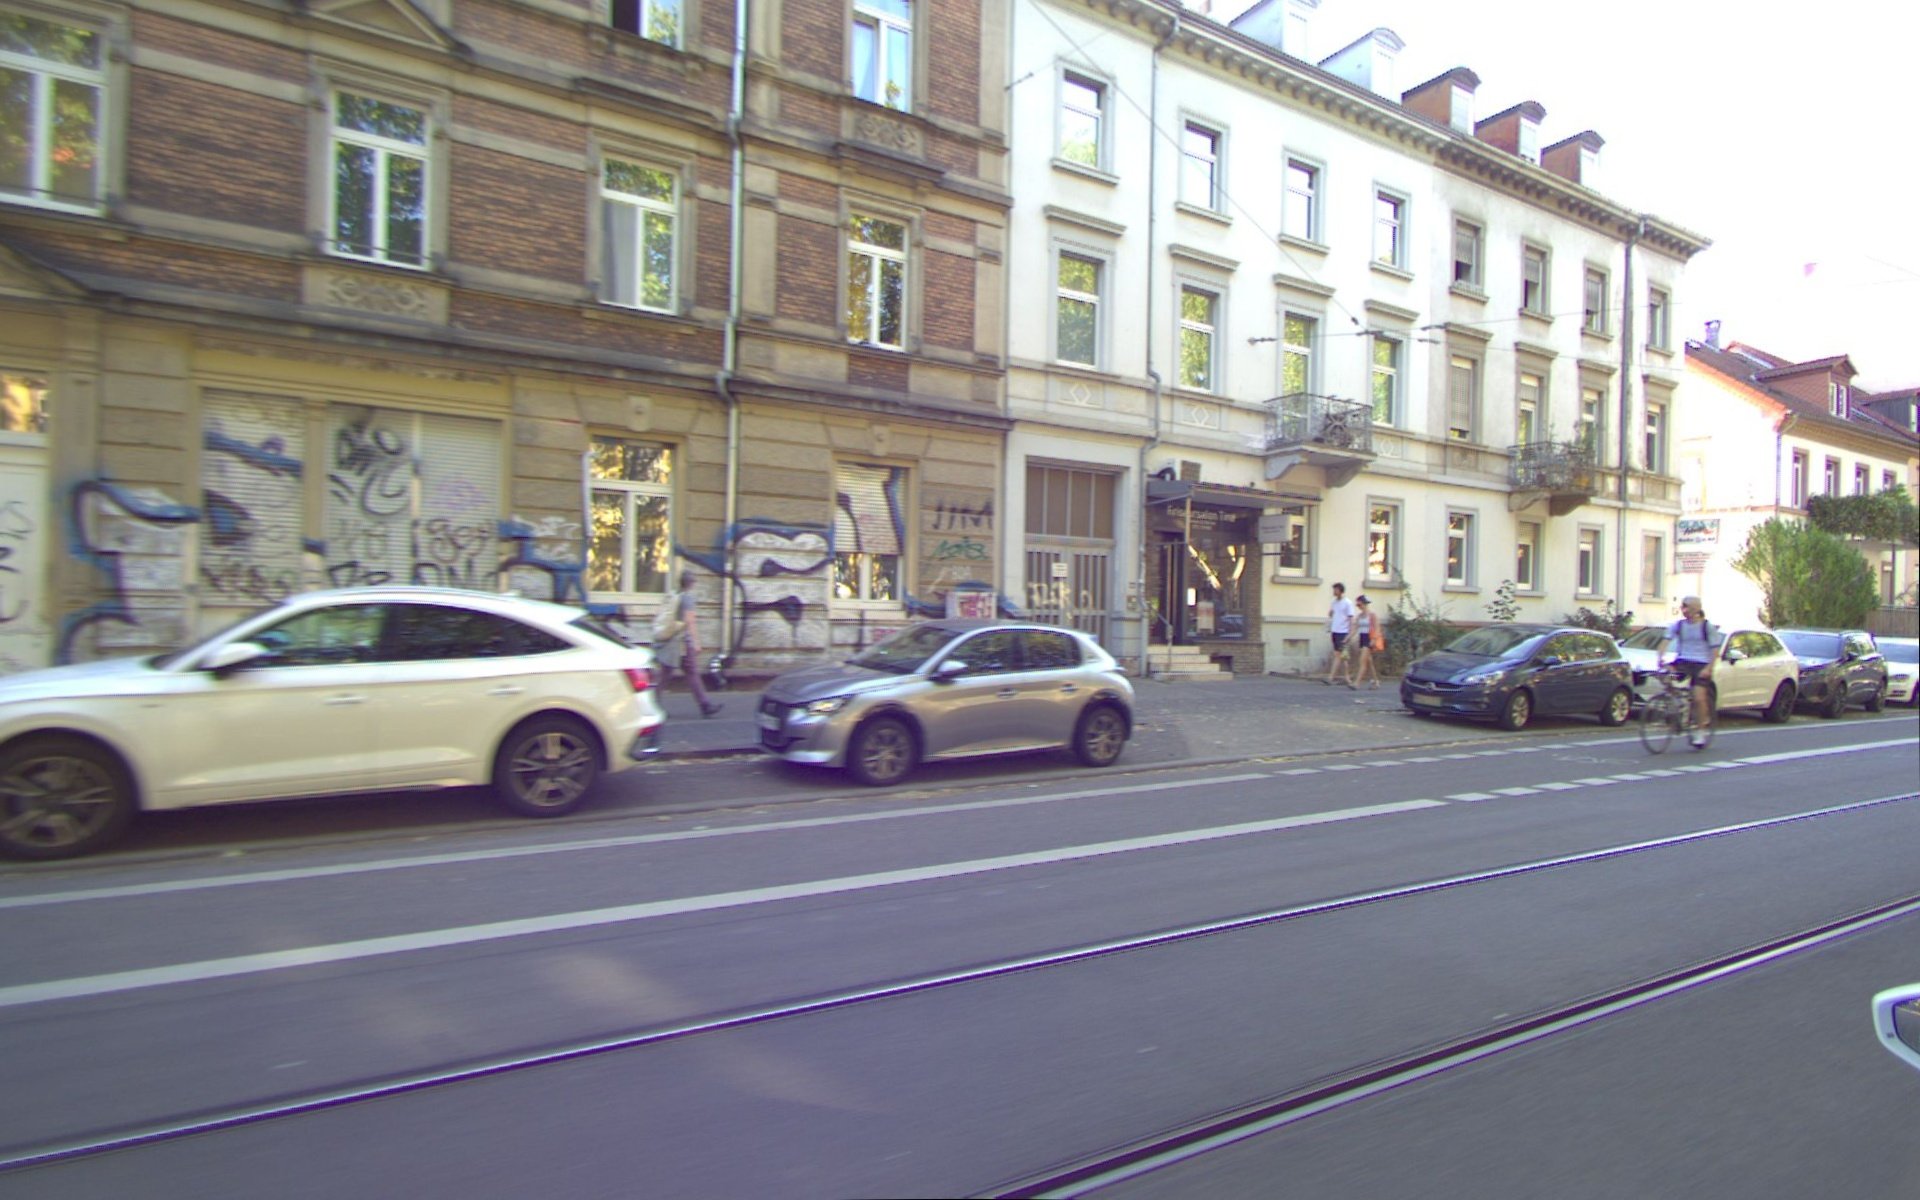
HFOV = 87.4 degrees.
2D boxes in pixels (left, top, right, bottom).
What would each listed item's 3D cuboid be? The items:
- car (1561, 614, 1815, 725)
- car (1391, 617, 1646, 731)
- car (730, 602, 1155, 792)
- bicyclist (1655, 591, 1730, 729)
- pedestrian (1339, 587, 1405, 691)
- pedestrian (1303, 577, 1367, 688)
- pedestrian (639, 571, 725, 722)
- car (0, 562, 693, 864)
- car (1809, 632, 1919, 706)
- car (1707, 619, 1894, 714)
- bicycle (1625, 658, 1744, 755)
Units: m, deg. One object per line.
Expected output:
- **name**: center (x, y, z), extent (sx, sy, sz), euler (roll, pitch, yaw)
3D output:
- **car**: center (12.804, 1.143, 17.596), extent (4.706, 1.726, 1.848), euler (1, -1, -30)
- **car**: center (8.528, 1.060, 15.287), extent (3.875, 1.535, 1.548), euler (1, -1, -28)
- **car**: center (-0.096, 0.860, 10.158), extent (4.021, 1.541, 1.653), euler (2, 1, -33)
- **bicyclist**: center (9.135, 0.734, 12.526), extent (0.790, 1.657, 0.471), euler (1, -1, -30)
- **pedestrian**: center (7.501, 0.698, 18.302), extent (0.821, 1.845, 0.755), euler (1, 0, -33)
- **pedestrian**: center (7.086, 0.597, 18.985), extent (0.821, 2.040, 0.755), euler (1, 0, -32)
- **pedestrian**: center (-3.231, 0.524, 11.721), extent (0.753, 1.687, 0.664), euler (2, 1, 2)
- **car**: center (-4.552, 0.682, 7.424), extent (4.664, 1.746, 1.777), euler (2, 1, -31)
- **car**: center (21.636, 1.536, 23.289), extent (4.208, 1.496, 1.678), euler (1, 1, -31)
- **car**: center (17.177, 1.283, 20.466), extent (4.613, 1.726, 1.844), euler (2, -1, -36)
- **bicycle**: center (8.979, 1.286, 12.434), extent (1.824, 1.100, 0.479), euler (1, -1, -30)
